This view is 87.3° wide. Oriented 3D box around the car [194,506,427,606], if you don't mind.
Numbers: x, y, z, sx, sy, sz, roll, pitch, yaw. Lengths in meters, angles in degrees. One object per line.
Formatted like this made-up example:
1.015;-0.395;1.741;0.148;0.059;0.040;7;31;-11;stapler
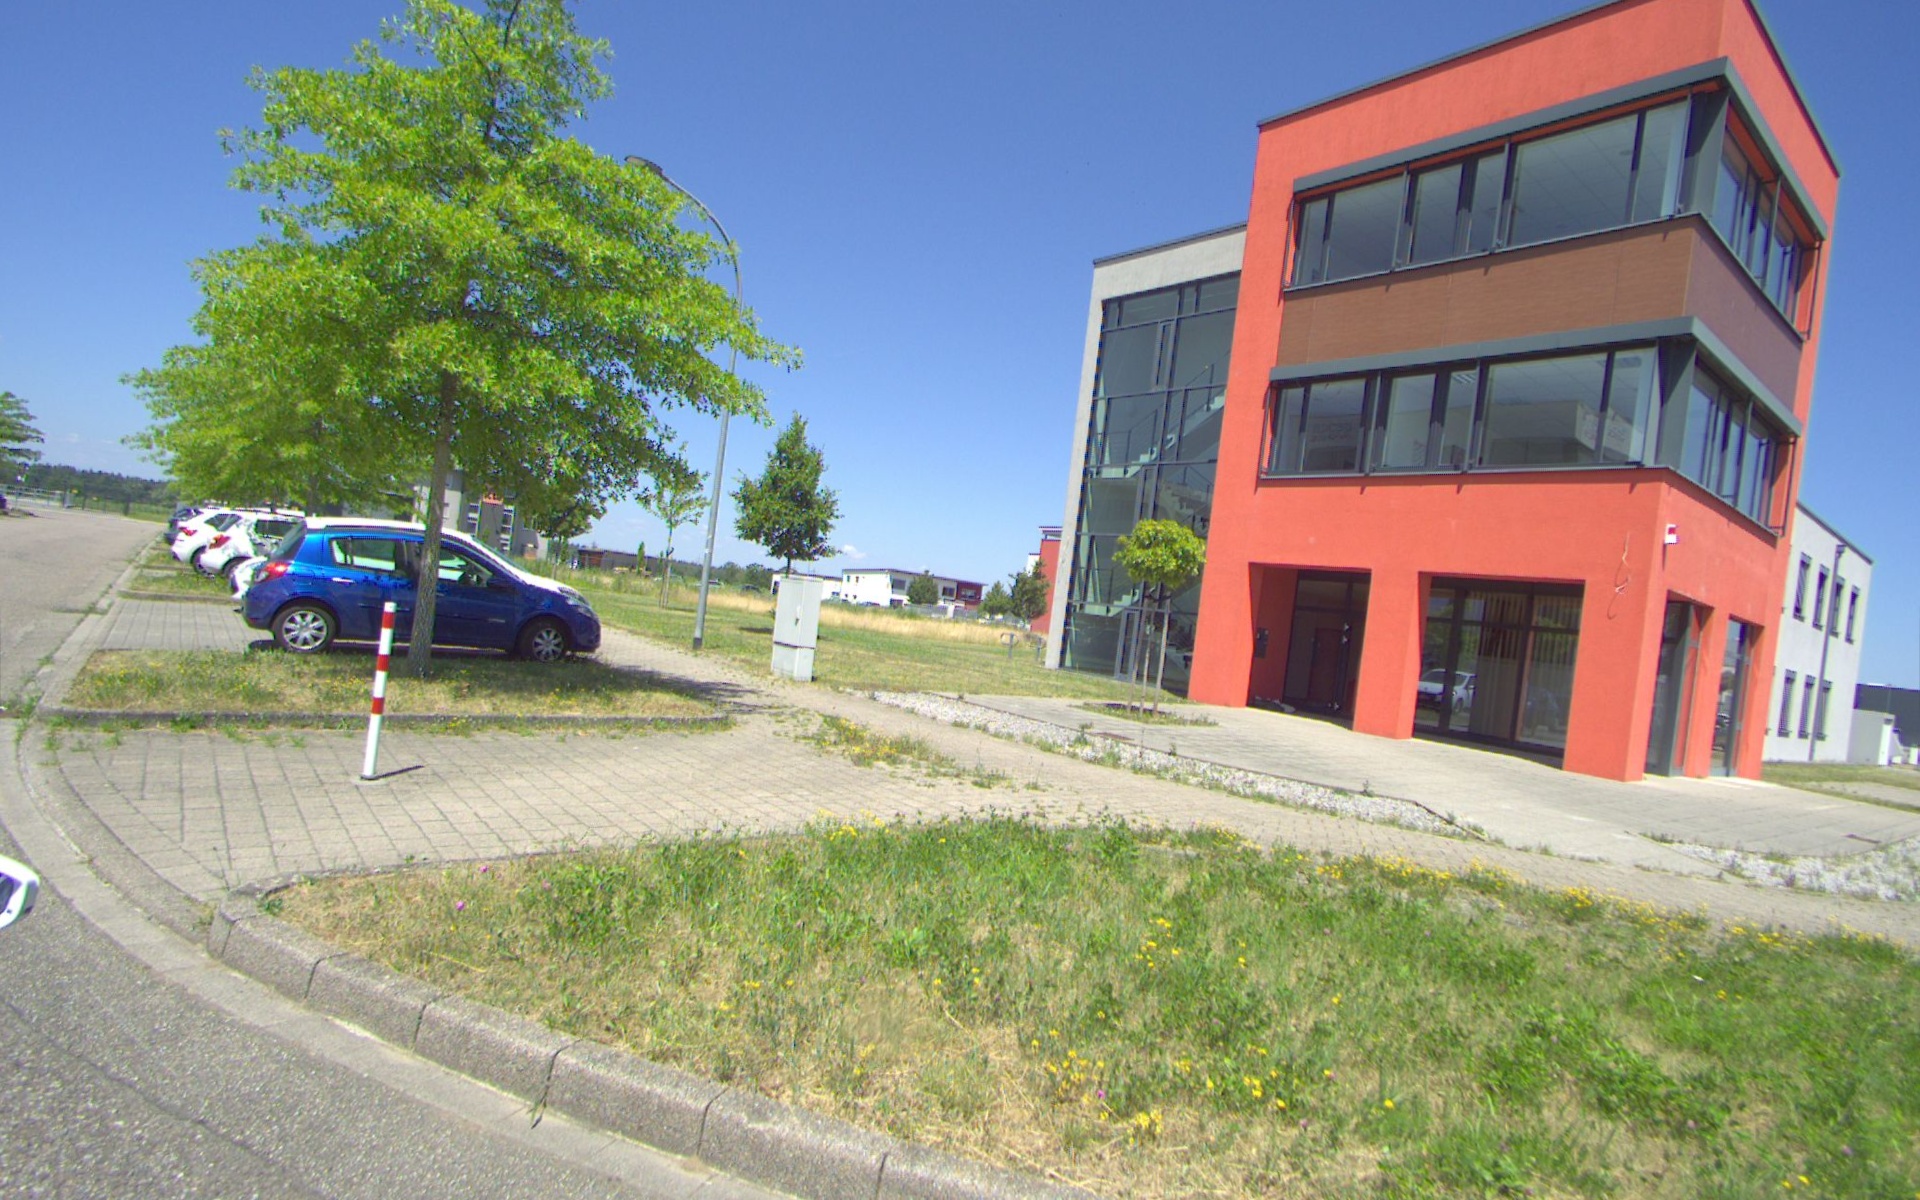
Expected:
-13.448;-0.882;20.914;3.816;1.543;1.760;7;0;-39;car

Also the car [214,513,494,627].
-9.794;-0.455;16.396;3.603;1.482;1.591;4;2;-43;car

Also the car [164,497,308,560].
-28.099;-2.729;39.144;4.379;1.853;1.777;6;1;-38;car

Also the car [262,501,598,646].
-7.688;-0.348;14.776;4.081;1.672;1.757;5;2;-34;car

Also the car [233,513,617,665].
-6.609;-0.103;12.631;3.969;1.510;1.711;5;2;-35;car

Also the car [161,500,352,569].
-22.271;-2.041;31.965;4.698;1.581;1.890;6;1;-43;car

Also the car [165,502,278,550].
-35.062;-3.477;47.831;4.154;1.718;1.762;6;1;-40;car

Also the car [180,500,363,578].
-19.105;-1.664;28.015;4.025;1.646;1.675;6;1;-38;car

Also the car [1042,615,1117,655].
5.916;1.730;49.653;3.307;1.528;1.701;7;0;-39;car

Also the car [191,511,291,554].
-31.668;-2.967;44.334;3.440;1.435;1.735;6;1;-39;car

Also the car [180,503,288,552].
-33.136;-3.291;45.951;3.855;1.699;1.763;6;1;-39;car

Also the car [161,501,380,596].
-15.320;-1.133;22.564;3.809;1.573;1.763;7;1;-34;car

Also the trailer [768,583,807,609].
-21.445;-0.459;124.770;3.971;2.632;2.208;7;0;-40;trailer
